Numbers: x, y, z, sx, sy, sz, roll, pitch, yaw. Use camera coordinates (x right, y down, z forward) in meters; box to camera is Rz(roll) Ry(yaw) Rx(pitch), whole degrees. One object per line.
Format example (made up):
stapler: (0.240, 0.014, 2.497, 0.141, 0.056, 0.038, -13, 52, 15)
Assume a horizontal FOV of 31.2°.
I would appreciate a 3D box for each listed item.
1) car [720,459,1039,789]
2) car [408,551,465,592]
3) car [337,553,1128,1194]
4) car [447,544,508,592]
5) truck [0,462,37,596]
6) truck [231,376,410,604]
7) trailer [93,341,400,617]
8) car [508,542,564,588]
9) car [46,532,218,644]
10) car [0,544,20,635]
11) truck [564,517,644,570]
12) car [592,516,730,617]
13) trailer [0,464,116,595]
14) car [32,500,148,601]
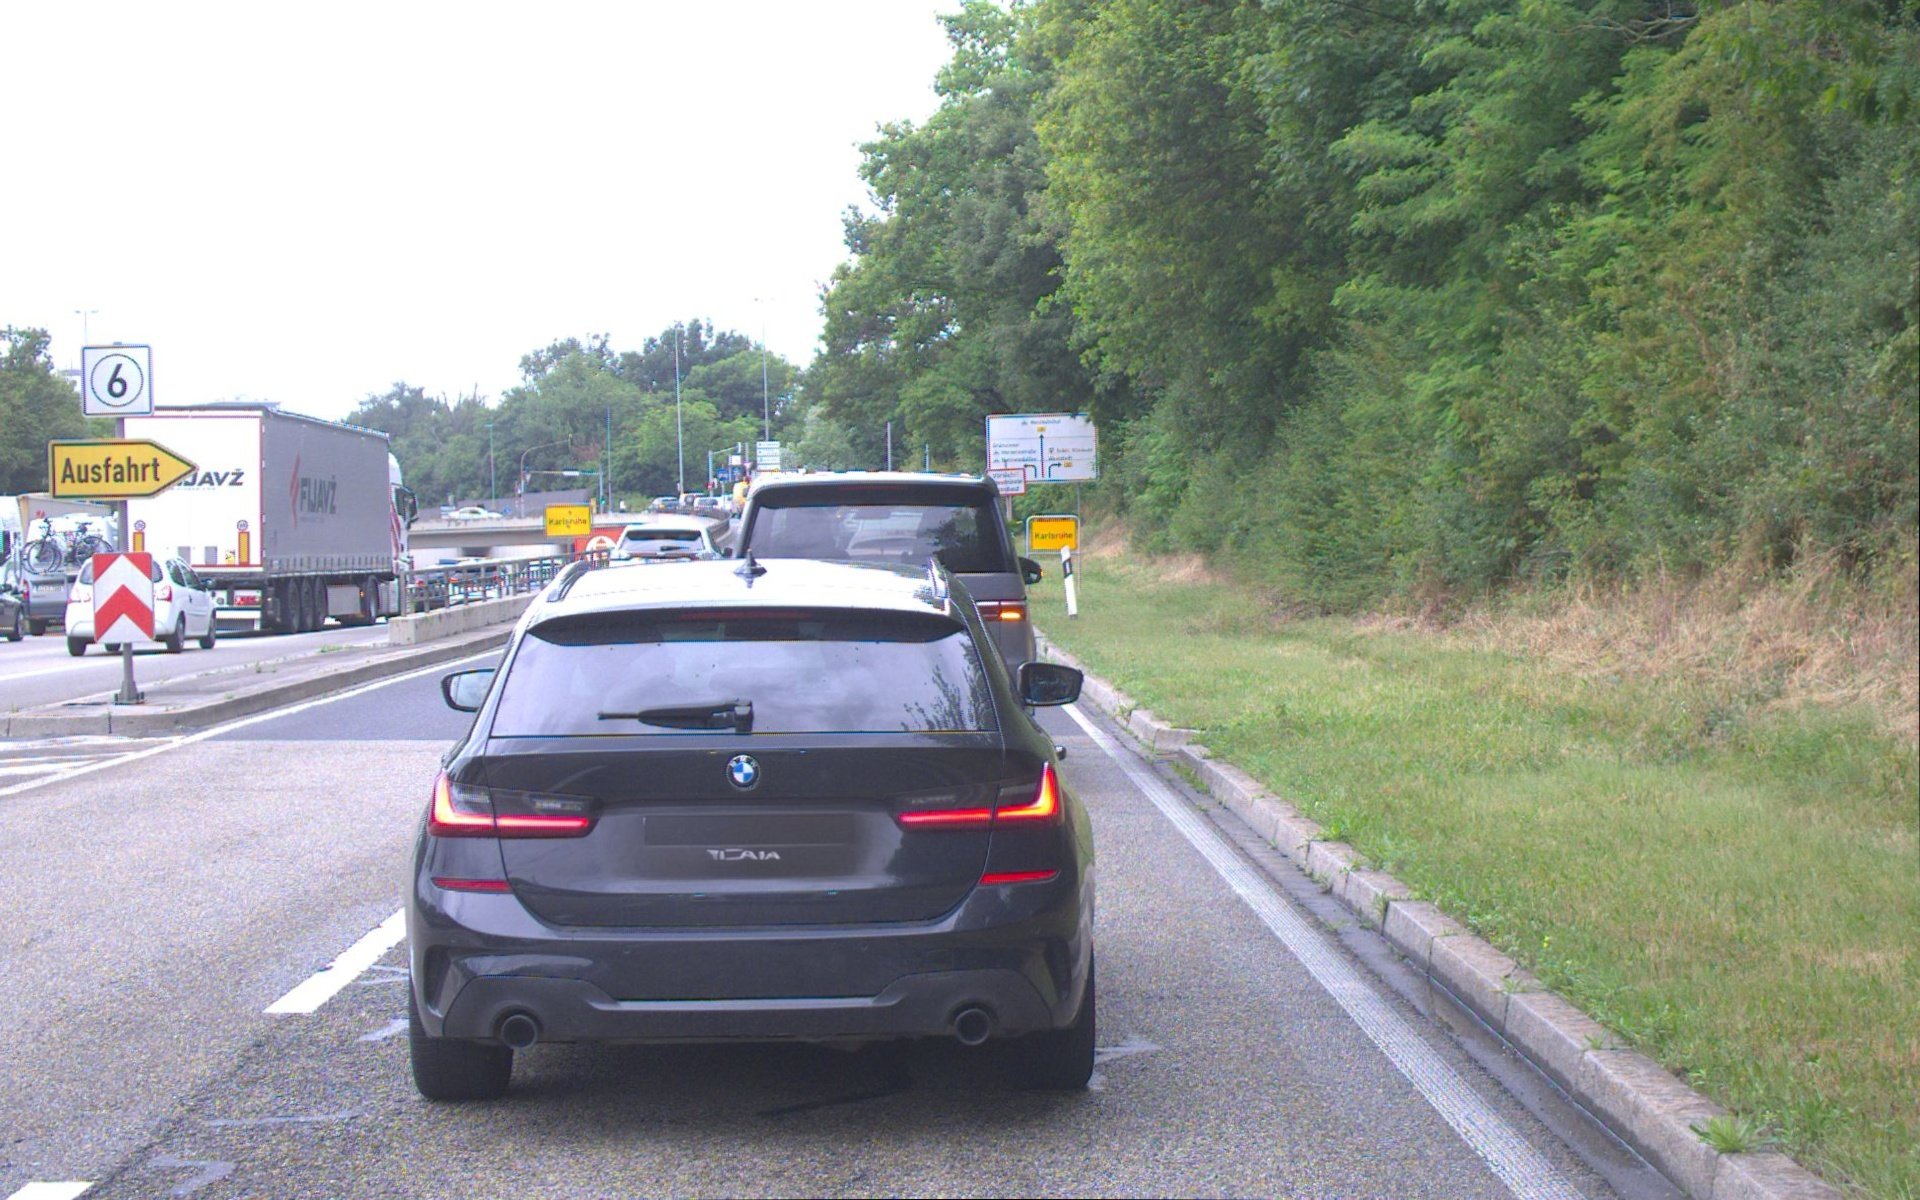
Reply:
car: (-0.484, 0.097, 21.577, 1.796, 1.865, 4.000, -1, 1, -1)
car: (-19.087, -1.057, 125.525, 1.593, 1.427, 3.062, -1, 1, 0)
car: (-0.618, 0.613, 10.091, 1.846, 1.461, 4.001, 0, 1, -3)
car: (-14.572, -0.979, 103.921, 1.377, 1.393, 3.062, -1, 1, 0)
truck: (-29.828, -2.130, 104.781, 2.405, 4.006, 4.001, -1, 1, -3)
truck: (-13.508, -2.293, 72.891, 3.083, 4.681, 4.232, 0, 1, -1)
trailer: (-13.378, -2.199, 66.037, 3.132, 4.709, 14.559, 0, 1, -1)
car: (-14.139, -1.176, 114.687, 1.448, 1.485, 3.062, -1, 1, 0)
car: (-12.098, -0.201, 50.423, 1.768, 1.544, 3.493, -1, 1, -2)
car: (-18.019, -0.175, 61.161, 1.687, 1.626, 3.735, 0, 1, -2)
truck: (-17.581, -2.830, 170.159, 3.274, 2.500, 7.661, -1, 1, -1)
car: (-4.973, -0.585, 57.689, 1.931, 1.590, 3.877, -1, 1, 0)
trailer: (-30.226, -2.295, 112.806, 2.397, 4.015, 13.080, -1, 1, -3)
car: (-18.210, -1.058, 72.085, 1.443, 2.037, 3.680, -1, 1, 0)
